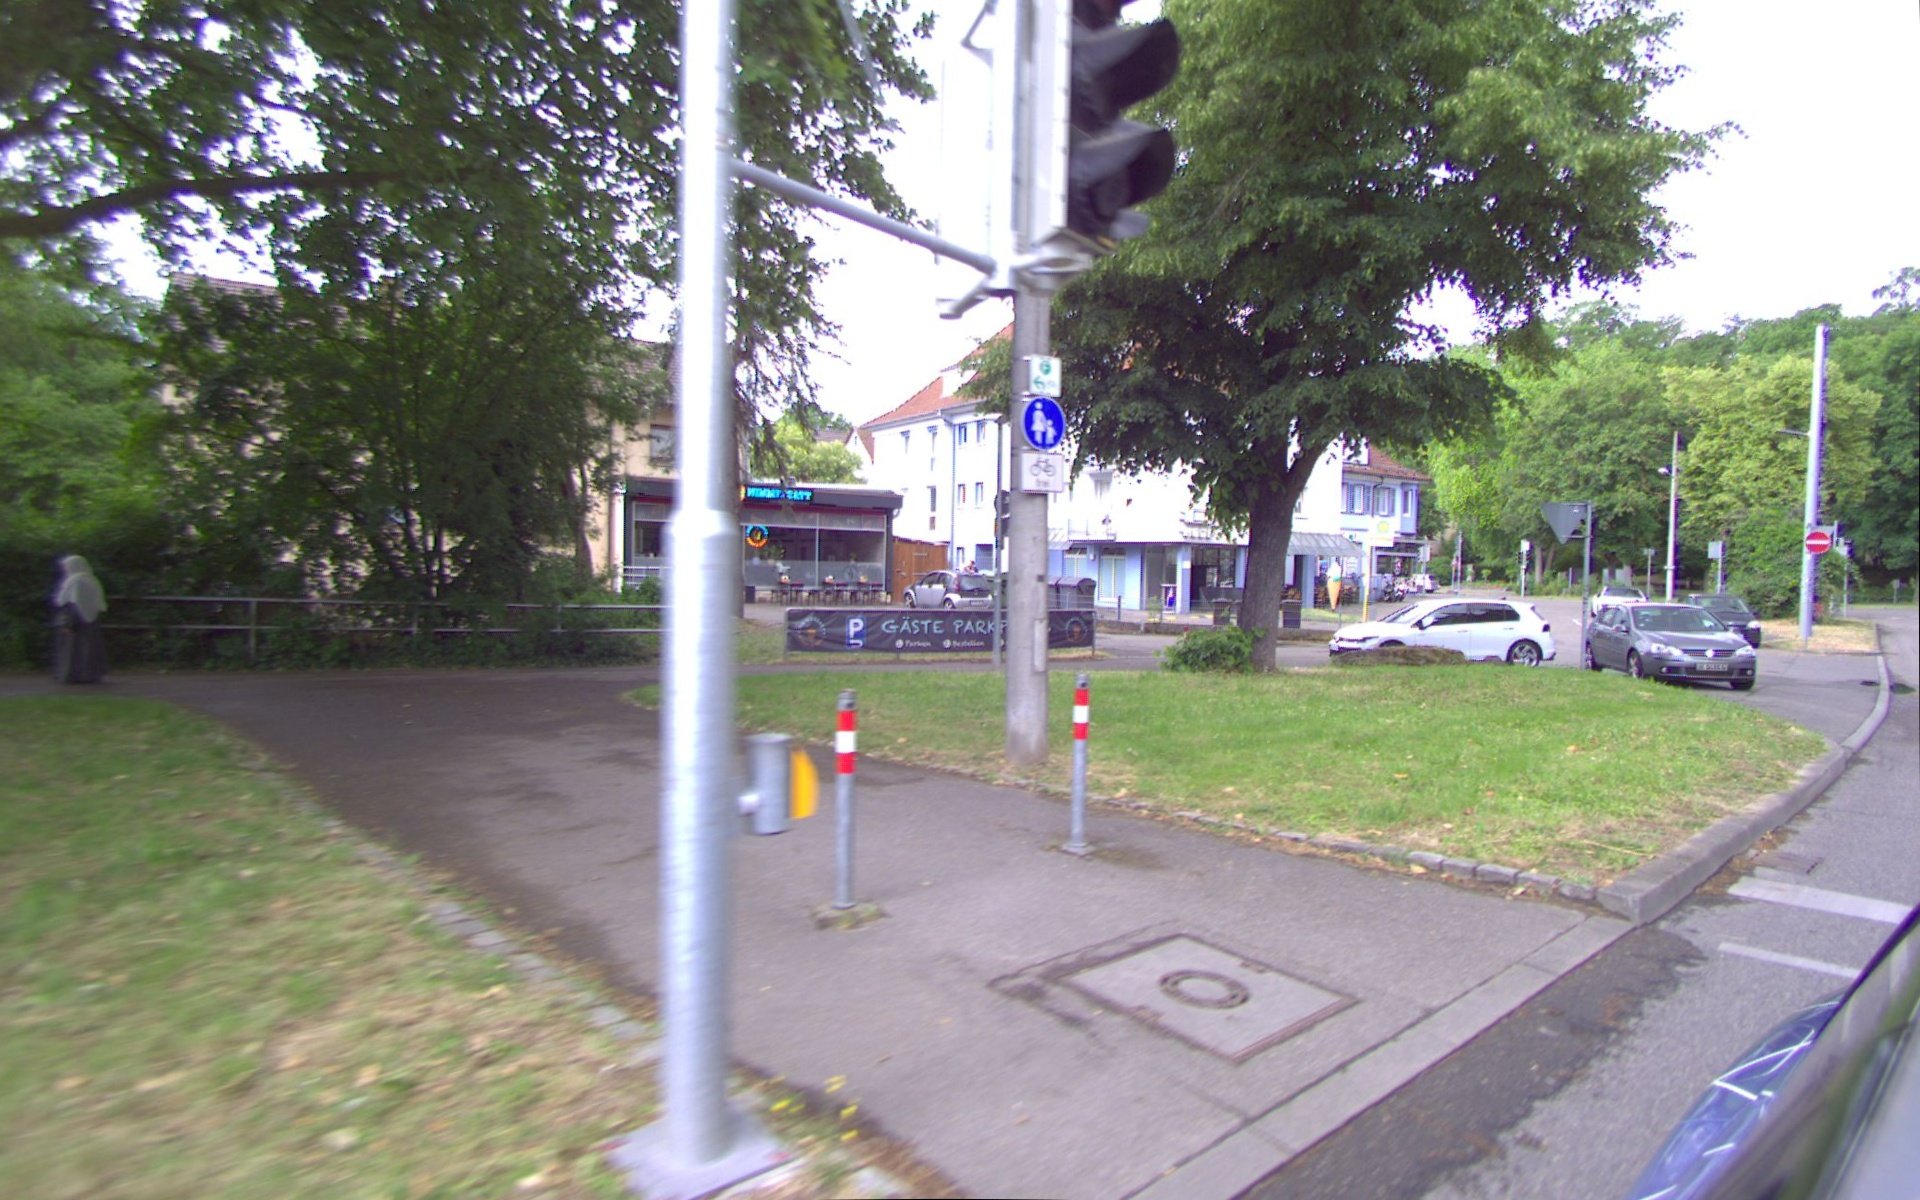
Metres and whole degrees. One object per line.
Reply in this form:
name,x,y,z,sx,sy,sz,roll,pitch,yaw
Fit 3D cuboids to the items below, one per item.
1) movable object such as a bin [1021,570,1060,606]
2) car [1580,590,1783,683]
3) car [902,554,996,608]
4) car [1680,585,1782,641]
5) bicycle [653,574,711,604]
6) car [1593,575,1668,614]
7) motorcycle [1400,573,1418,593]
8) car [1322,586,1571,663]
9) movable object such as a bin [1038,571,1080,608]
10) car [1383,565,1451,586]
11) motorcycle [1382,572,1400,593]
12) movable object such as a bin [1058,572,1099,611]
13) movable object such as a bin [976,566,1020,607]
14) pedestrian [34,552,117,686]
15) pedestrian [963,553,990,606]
movable object such as a bin,3.288,-0.499,41.481,1.072,1.412,1.220,-1,3,-29
car,13.005,0.571,18.545,1.709,1.447,4.092,2,1,16
car,-0.405,-0.675,34.024,1.593,1.650,3.428,-1,4,-32
car,21.949,0.310,28.949,1.557,1.421,3.465,2,2,25
bicycle,-8.850,-0.349,32.180,1.943,0.886,0.410,2,2,22
car,28.094,-0.275,42.549,1.981,1.403,4.746,2,3,27
motorcycle,24.008,-0.920,54.068,0.518,0.997,1.801,2,3,35
car,9.819,0.456,20.676,4.182,1.397,1.764,1,2,2
movable object such as a bin,3.941,-0.425,40.342,1.138,1.412,1.220,-1,3,-29
car,35.682,-1.931,79.133,1.864,1.473,4.550,-1,3,-33
motorcycle,22.058,-0.899,51.765,0.487,1.044,1.704,3,3,35
movable object such as a bin,4.572,-0.347,39.132,1.072,1.433,1.220,-1,3,-29
movable object such as a bin,1.322,-0.475,35.153,0.977,1.361,1.219,-1,4,-38
pedestrian,-10.746,0.210,12.318,0.729,1.570,0.685,0,2,-39
pedestrian,0.555,-0.714,34.395,0.600,1.750,0.689,-1,3,-39
